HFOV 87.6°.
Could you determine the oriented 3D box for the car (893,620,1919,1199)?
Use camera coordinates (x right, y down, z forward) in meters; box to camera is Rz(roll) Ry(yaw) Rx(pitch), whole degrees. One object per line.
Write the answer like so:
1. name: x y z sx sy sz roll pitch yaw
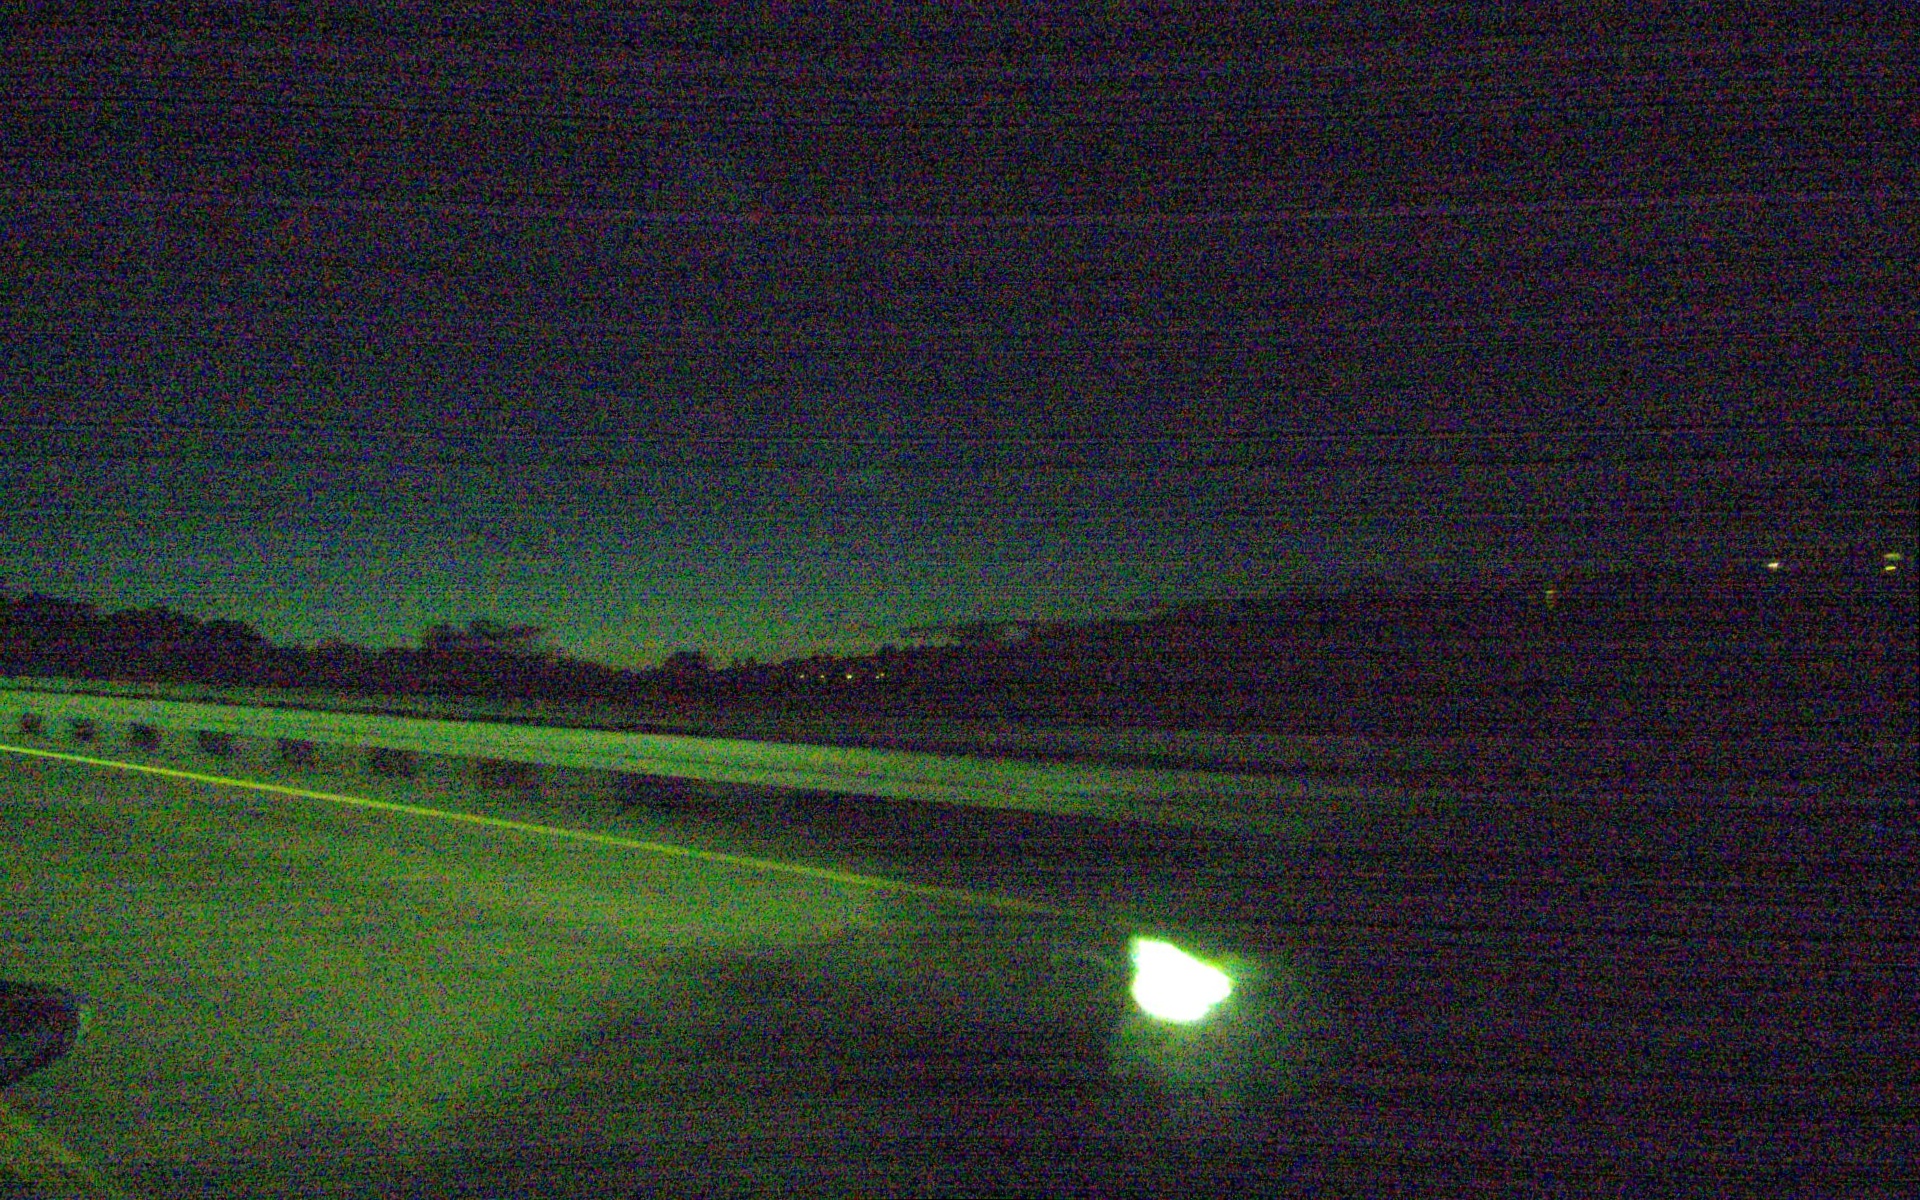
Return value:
1. car: 2.308 0.780 2.029 4.808 1.445 1.803 -1 0 34
